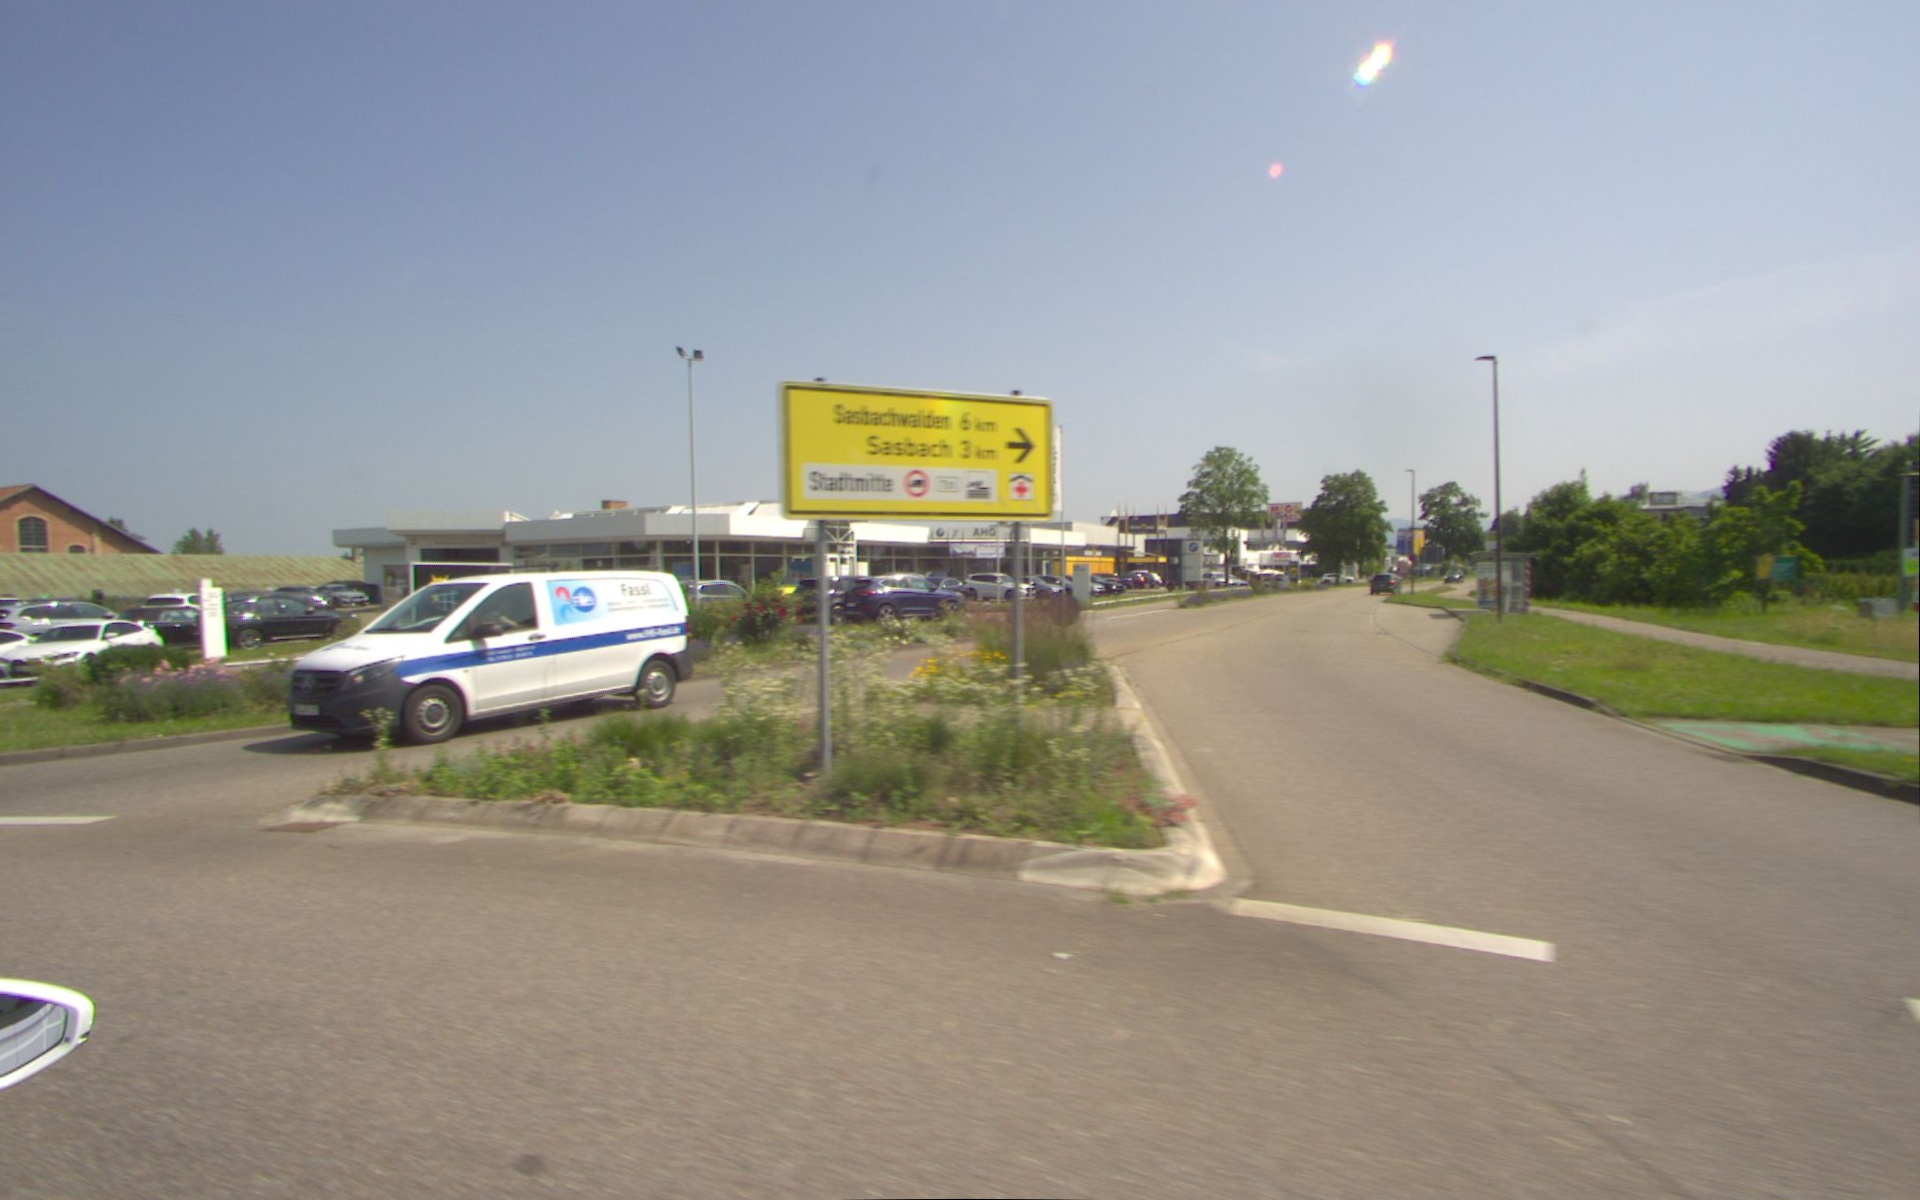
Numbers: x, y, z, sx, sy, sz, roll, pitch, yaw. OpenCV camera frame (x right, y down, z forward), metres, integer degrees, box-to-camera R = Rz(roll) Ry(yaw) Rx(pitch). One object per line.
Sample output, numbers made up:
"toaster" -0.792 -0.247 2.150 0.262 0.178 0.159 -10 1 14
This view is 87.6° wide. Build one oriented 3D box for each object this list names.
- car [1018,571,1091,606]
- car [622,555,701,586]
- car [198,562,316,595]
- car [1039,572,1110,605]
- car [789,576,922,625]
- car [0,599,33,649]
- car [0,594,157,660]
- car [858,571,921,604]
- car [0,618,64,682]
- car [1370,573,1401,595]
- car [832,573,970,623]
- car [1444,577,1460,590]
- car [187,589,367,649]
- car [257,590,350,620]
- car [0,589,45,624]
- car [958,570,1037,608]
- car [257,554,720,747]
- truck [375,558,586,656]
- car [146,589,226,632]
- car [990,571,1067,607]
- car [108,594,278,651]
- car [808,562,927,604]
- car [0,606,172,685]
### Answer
"car" 6.037 -0.703 63.950 4.199 2.040 1.990 -2 0 30
"car" -16.655 -1.664 56.035 1.882 1.608 4.018 0 2 32
"car" -35.303 -1.101 50.424 1.921 1.543 4.444 -1 2 31
"car" 7.623 -0.733 66.625 4.199 2.040 1.990 -2 0 30
"car" -3.695 -0.019 35.579 4.313 1.533 1.898 -2 2 -31
"car" -31.839 0.831 31.181 1.922 1.547 3.985 0 2 32
"car" -28.549 0.809 32.010 1.918 1.775 3.991 0 3 26
"car" -3.739 -0.672 53.730 1.558 1.676 3.681 -2 0 29
"car" -26.239 1.413 26.230 1.734 1.592 4.573 -3 2 -7
"car" 30.977 -1.173 72.811 1.746 1.504 4.022 0 2 28
"car" -1.980 -0.103 34.081 4.313 1.533 1.898 -2 2 -31
"car" 61.132 -2.009 124.373 1.746 1.504 4.022 0 2 28
"car" -22.189 0.576 32.737 1.919 1.521 4.406 -2 4 26
"car" -30.995 0.229 47.344 3.277 1.293 1.657 -1 2 1
"car" -46.474 0.340 48.291 4.238 1.618 2.184 -1 2 29
"car" 2.190 -0.620 58.700 4.199 2.040 1.990 -2 0 30
"car" -5.661 0.517 12.871 1.834 1.963 5.202 -2 0 32
"truck" -14.448 0.099 30.585 1.921 2.701 5.595 0 2 32
"car" -31.925 0.395 41.417 1.631 1.608 4.251 -2 2 -25
"car" 4.206 -0.662 61.636 4.199 2.040 1.990 -2 0 30
"car" -25.385 0.687 33.282 1.918 1.521 3.991 1 4 26
"car" -3.683 -0.706 39.989 4.313 1.533 1.898 -2 2 -31
"car" -23.617 1.144 27.036 1.735 1.593 4.655 -2 4 -13
